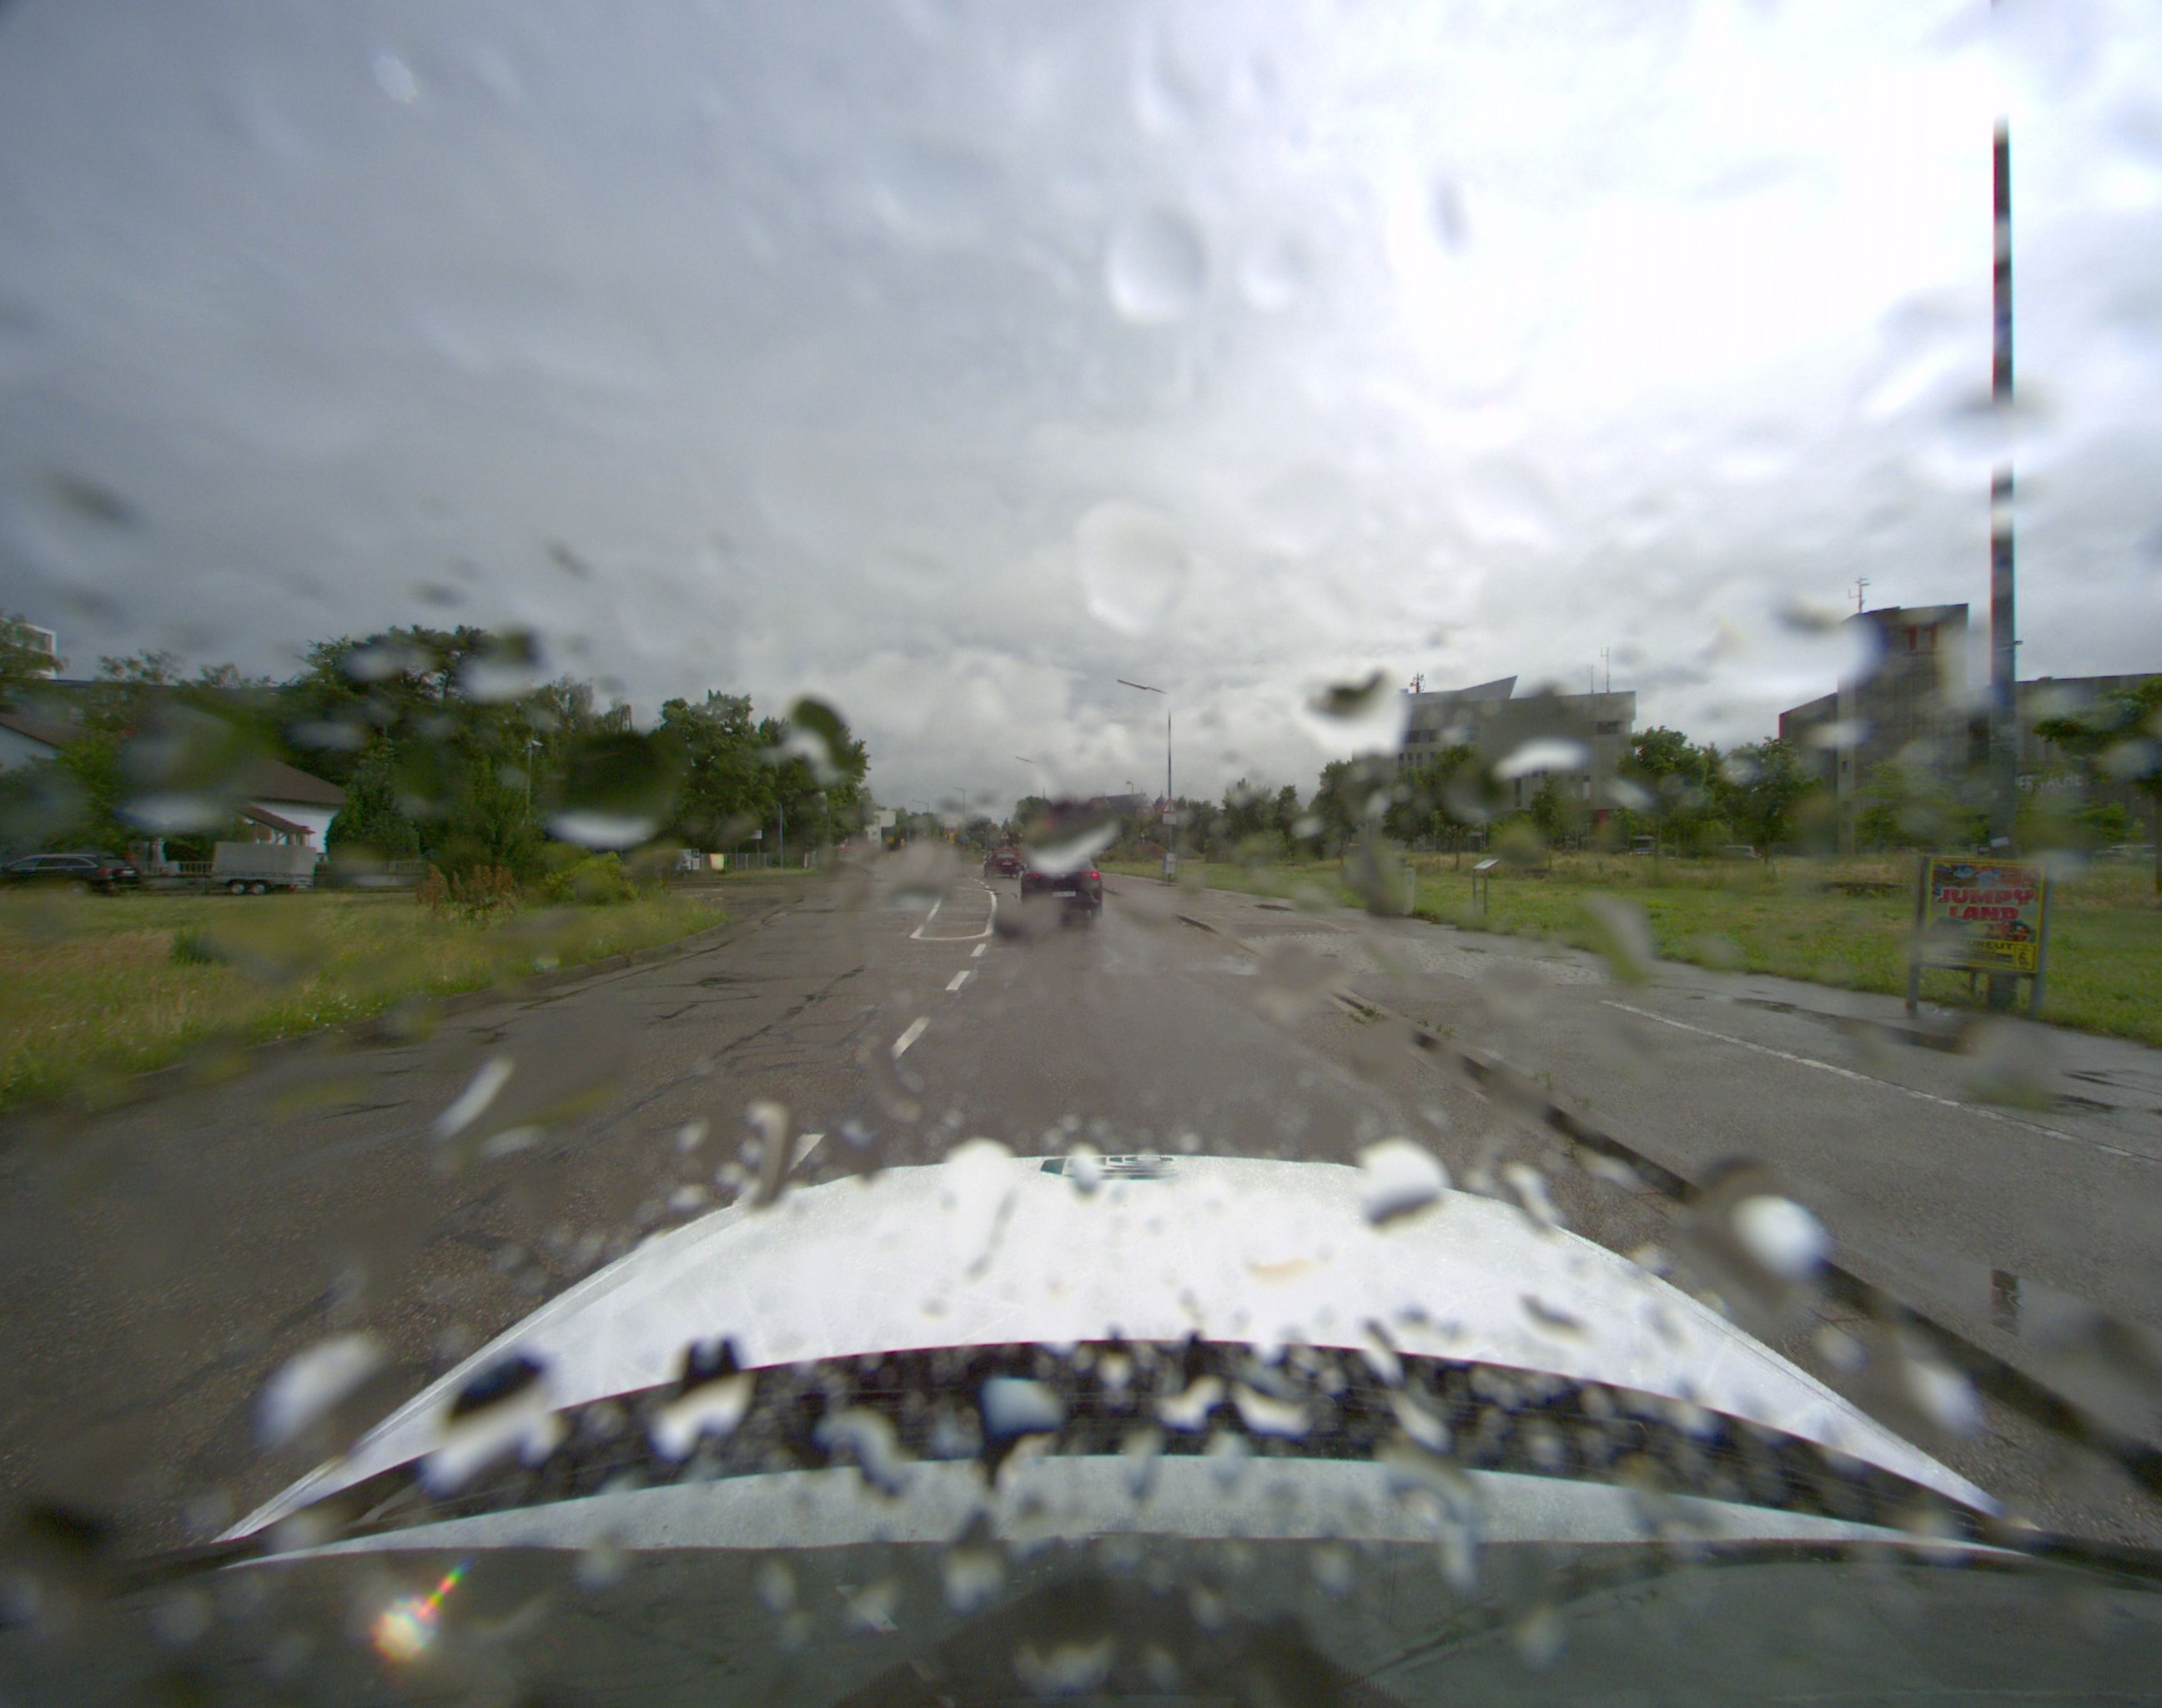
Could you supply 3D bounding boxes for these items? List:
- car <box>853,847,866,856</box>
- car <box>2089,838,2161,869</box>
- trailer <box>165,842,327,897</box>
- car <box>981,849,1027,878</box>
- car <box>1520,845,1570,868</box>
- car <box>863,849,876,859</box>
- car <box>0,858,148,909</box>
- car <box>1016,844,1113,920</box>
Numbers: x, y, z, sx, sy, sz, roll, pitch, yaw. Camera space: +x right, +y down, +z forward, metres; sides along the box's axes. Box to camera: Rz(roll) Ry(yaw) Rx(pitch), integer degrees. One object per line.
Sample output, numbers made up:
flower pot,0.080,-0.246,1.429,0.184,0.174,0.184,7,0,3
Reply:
car,-40.568,-0.466,149.217,2.002,1.702,3.990,0,0,-19
car,60.118,-0.026,45.782,3.950,1.720,1.780,0,0,27
trailer,-33.500,0.622,32.832,4.111,2.089,1.833,1,0,-19
car,-4.302,0.494,44.828,1.845,1.442,3.979,-3,0,-15
car,40.998,0.224,71.979,3.661,2.014,2.013,0,-1,33
car,-35.242,0.066,135.832,1.847,1.641,3.990,0,0,-19
car,-38.246,1.075,30.140,4.513,1.775,1.989,0,0,-16
car,-0.474,0.571,19.117,1.983,1.520,3.994,-2,1,-4
